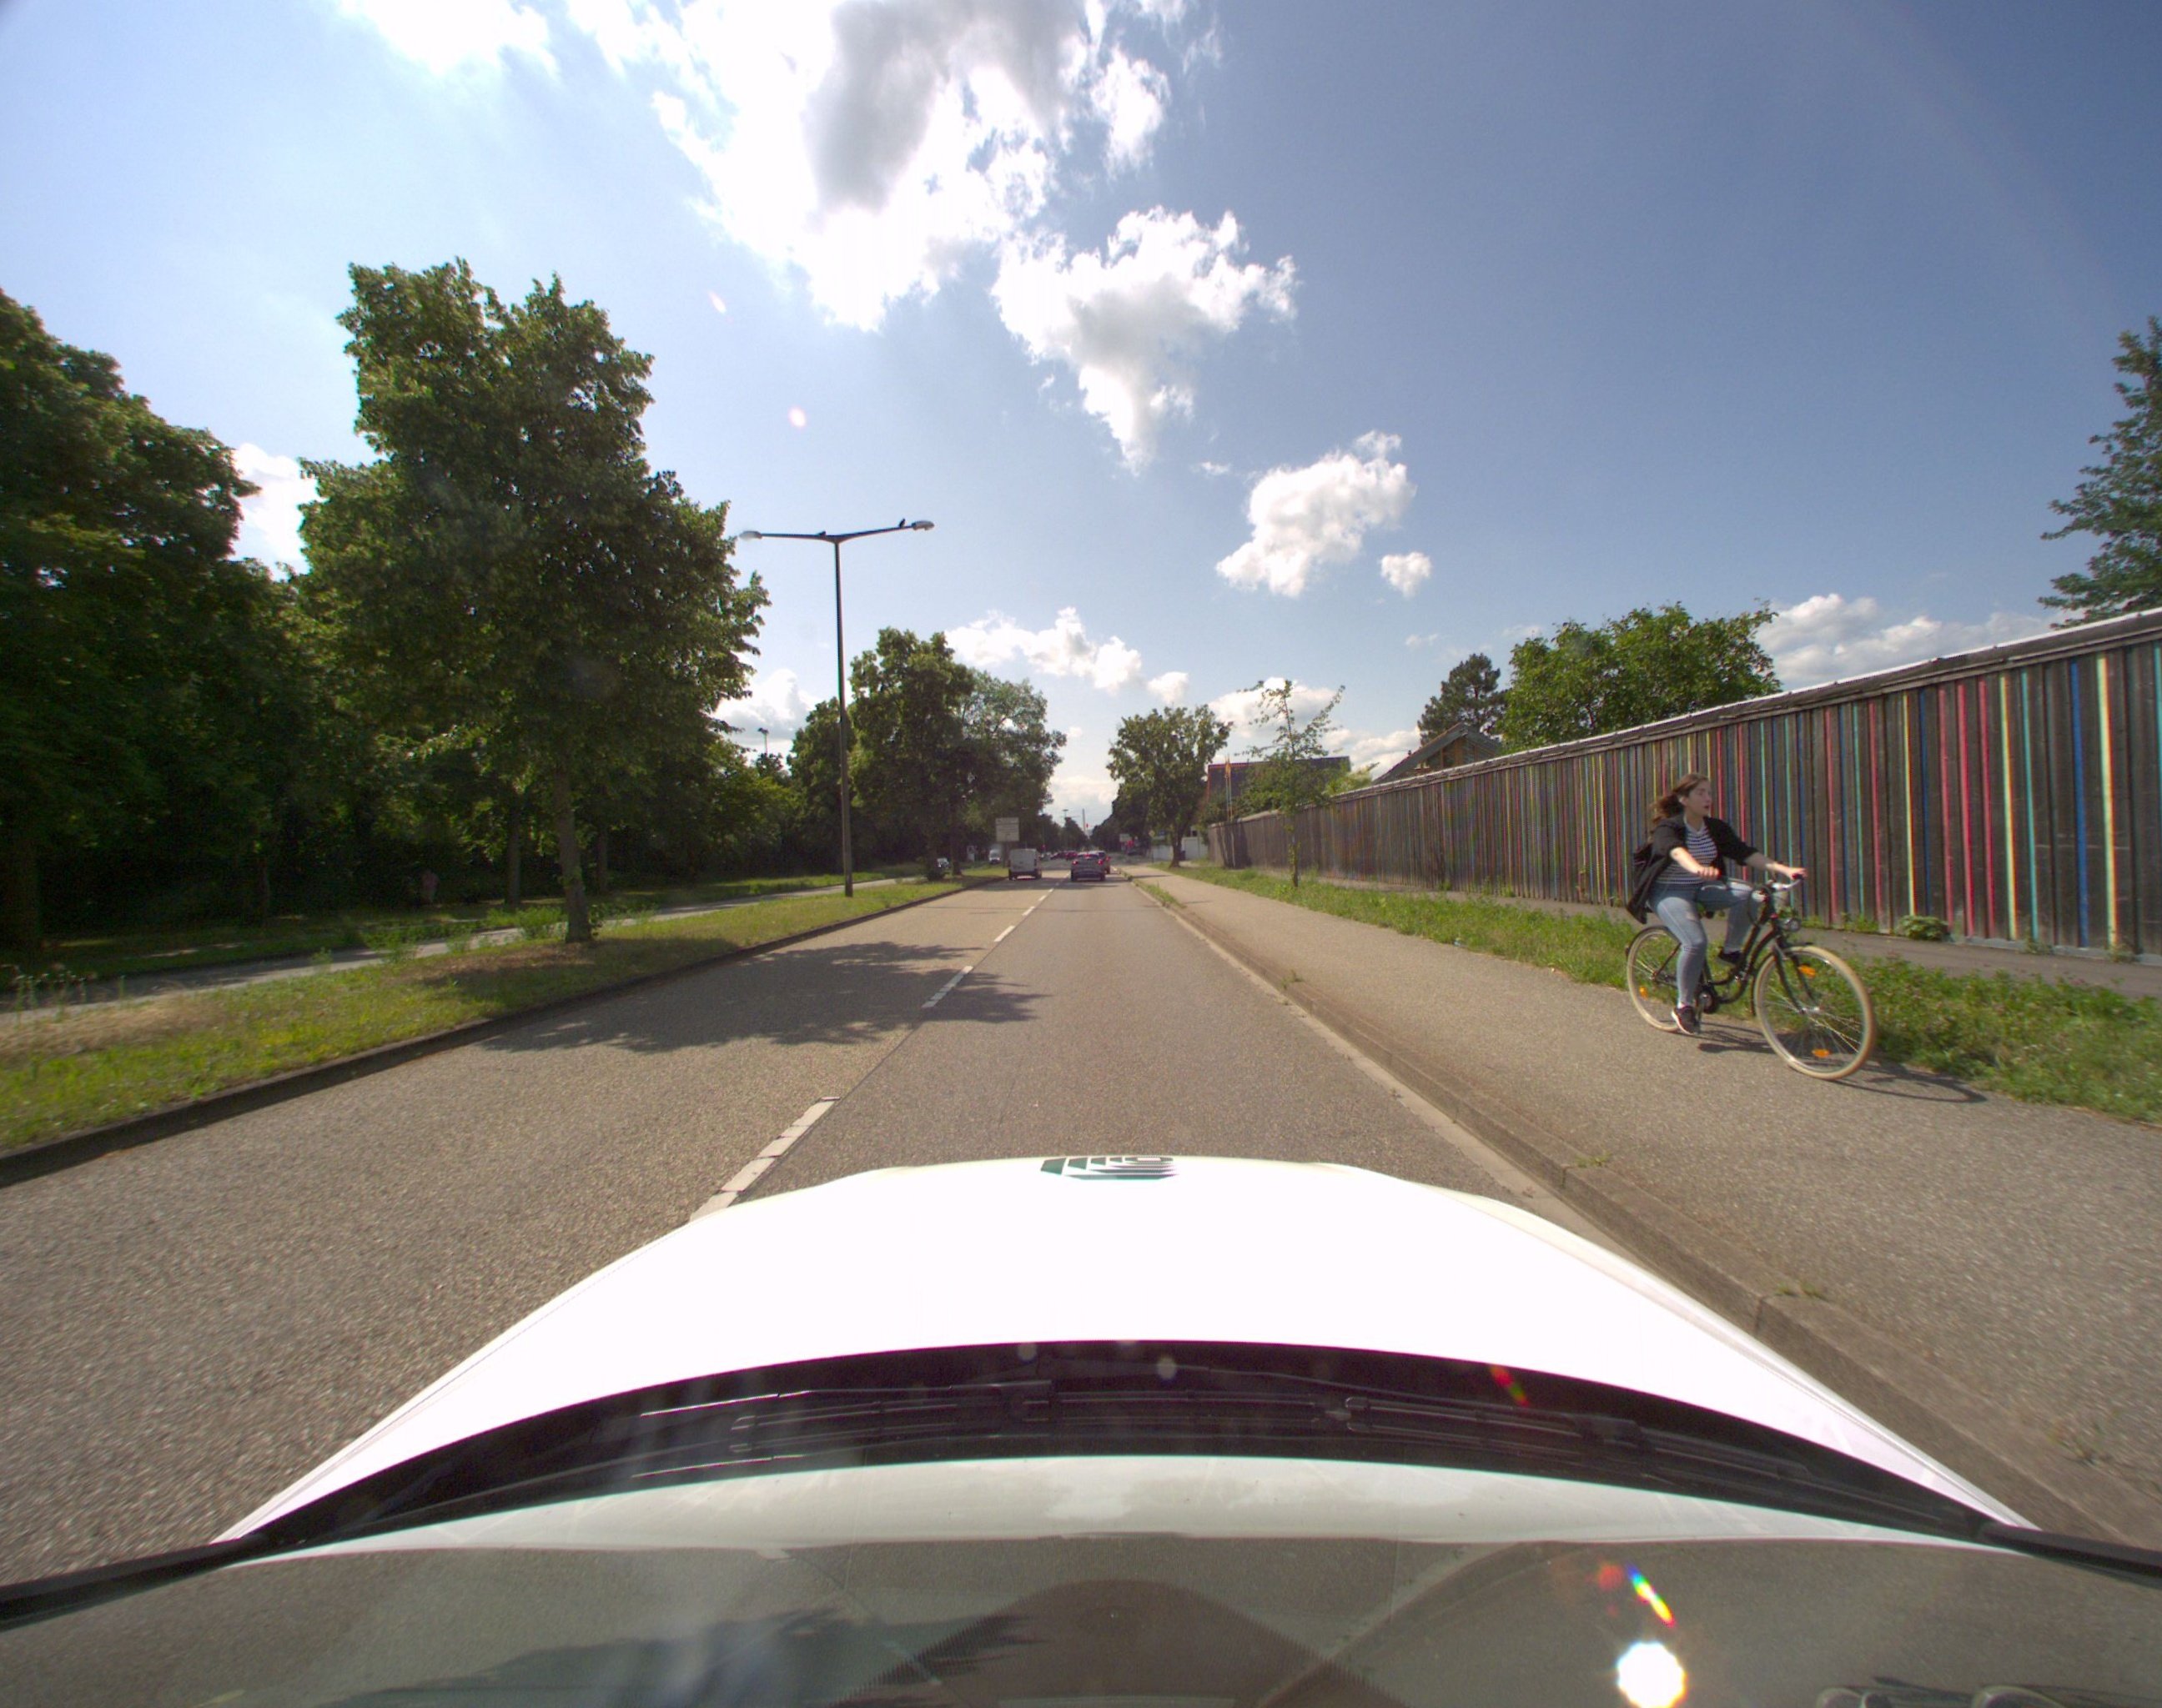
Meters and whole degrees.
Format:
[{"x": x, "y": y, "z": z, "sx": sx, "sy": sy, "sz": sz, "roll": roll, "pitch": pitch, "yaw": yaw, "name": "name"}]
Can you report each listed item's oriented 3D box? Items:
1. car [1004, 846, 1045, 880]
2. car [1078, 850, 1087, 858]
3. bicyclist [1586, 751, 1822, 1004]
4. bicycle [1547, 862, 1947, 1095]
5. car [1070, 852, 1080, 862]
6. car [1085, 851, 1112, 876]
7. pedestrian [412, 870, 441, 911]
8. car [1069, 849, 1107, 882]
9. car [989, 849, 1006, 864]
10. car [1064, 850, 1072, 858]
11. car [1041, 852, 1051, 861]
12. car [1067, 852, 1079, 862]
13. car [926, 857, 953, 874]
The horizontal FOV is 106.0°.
[{"x": -3.417, "y": 0.493, "z": 49.908, "sx": 2.059, "sy": 1.912, "sz": 4.647, "roll": -2, "pitch": 0, "yaw": 1, "name": "car"}, {"x": 0.385, "y": 0.043, "z": 186.066, "sx": 1.773, "sy": 1.767, "sz": 4.001, "roll": -2, "pitch": 0, "yaw": 1, "name": "car"}, {"x": 3.890, "y": 0.133, "z": 5.179, "sx": 0.652, "sy": 1.412, "sz": 0.987, "roll": -5, "pitch": 0, "yaw": 2, "name": "bicyclist"}, {"x": 3.928, "y": 0.625, "z": 5.145, "sx": 0.643, "sy": 1.067, "sz": 2.279, "roll": -5, "pitch": 0, "yaw": 2, "name": "bicycle"}, {"x": -1.148, "y": 0.567, "z": 159.644, "sx": 1.773, "sy": 1.767, "sz": 4.170, "roll": -2, "pitch": 0, "yaw": 1, "name": "car"}, {"x": 1.255, "y": 0.631, "z": 57.954, "sx": 1.773, "sy": 1.643, "sz": 4.197, "roll": -2, "pitch": 0, "yaw": 1, "name": "car"}, {"x": -26.970, "y": 1.488, "z": 33.552, "sx": 0.641, "sy": 1.630, "sz": 0.656, "roll": -1, "pitch": 0, "yaw": 1, "name": "pedestrian"}, {"x": 0.384, "y": 0.595, "z": 43.592, "sx": 1.868, "sy": 1.589, "sz": 4.185, "roll": -2, "pitch": 0, "yaw": 1, "name": "car"}, {"x": -13.939, "y": 0.377, "z": 135.768, "sx": 2.038, "sy": 2.431, "sz": 5.251, "roll": -2, "pitch": 0, "yaw": 1, "name": "car"}, {"x": -3.191, "y": 0.026, "z": 202.392, "sx": 1.773, "sy": 1.767, "sz": 4.152, "roll": -2, "pitch": 0, "yaw": 1, "name": "car"}, {"x": -7.164, "y": 0.456, "z": 167.787, "sx": 1.773, "sy": 1.767, "sz": 4.126, "roll": -2, "pitch": 0, "yaw": 1, "name": "car"}, {"x": -1.445, "y": 0.568, "z": 148.965, "sx": 1.934, "sy": 1.767, "sz": 4.147, "roll": -2, "pitch": 0, "yaw": 1, "name": "car"}, {"x": -14.835, "y": 1.203, "z": 85.556, "sx": 1.986, "sy": 1.705, "sz": 4.194, "roll": -2, "pitch": 0, "yaw": 1, "name": "car"}]
